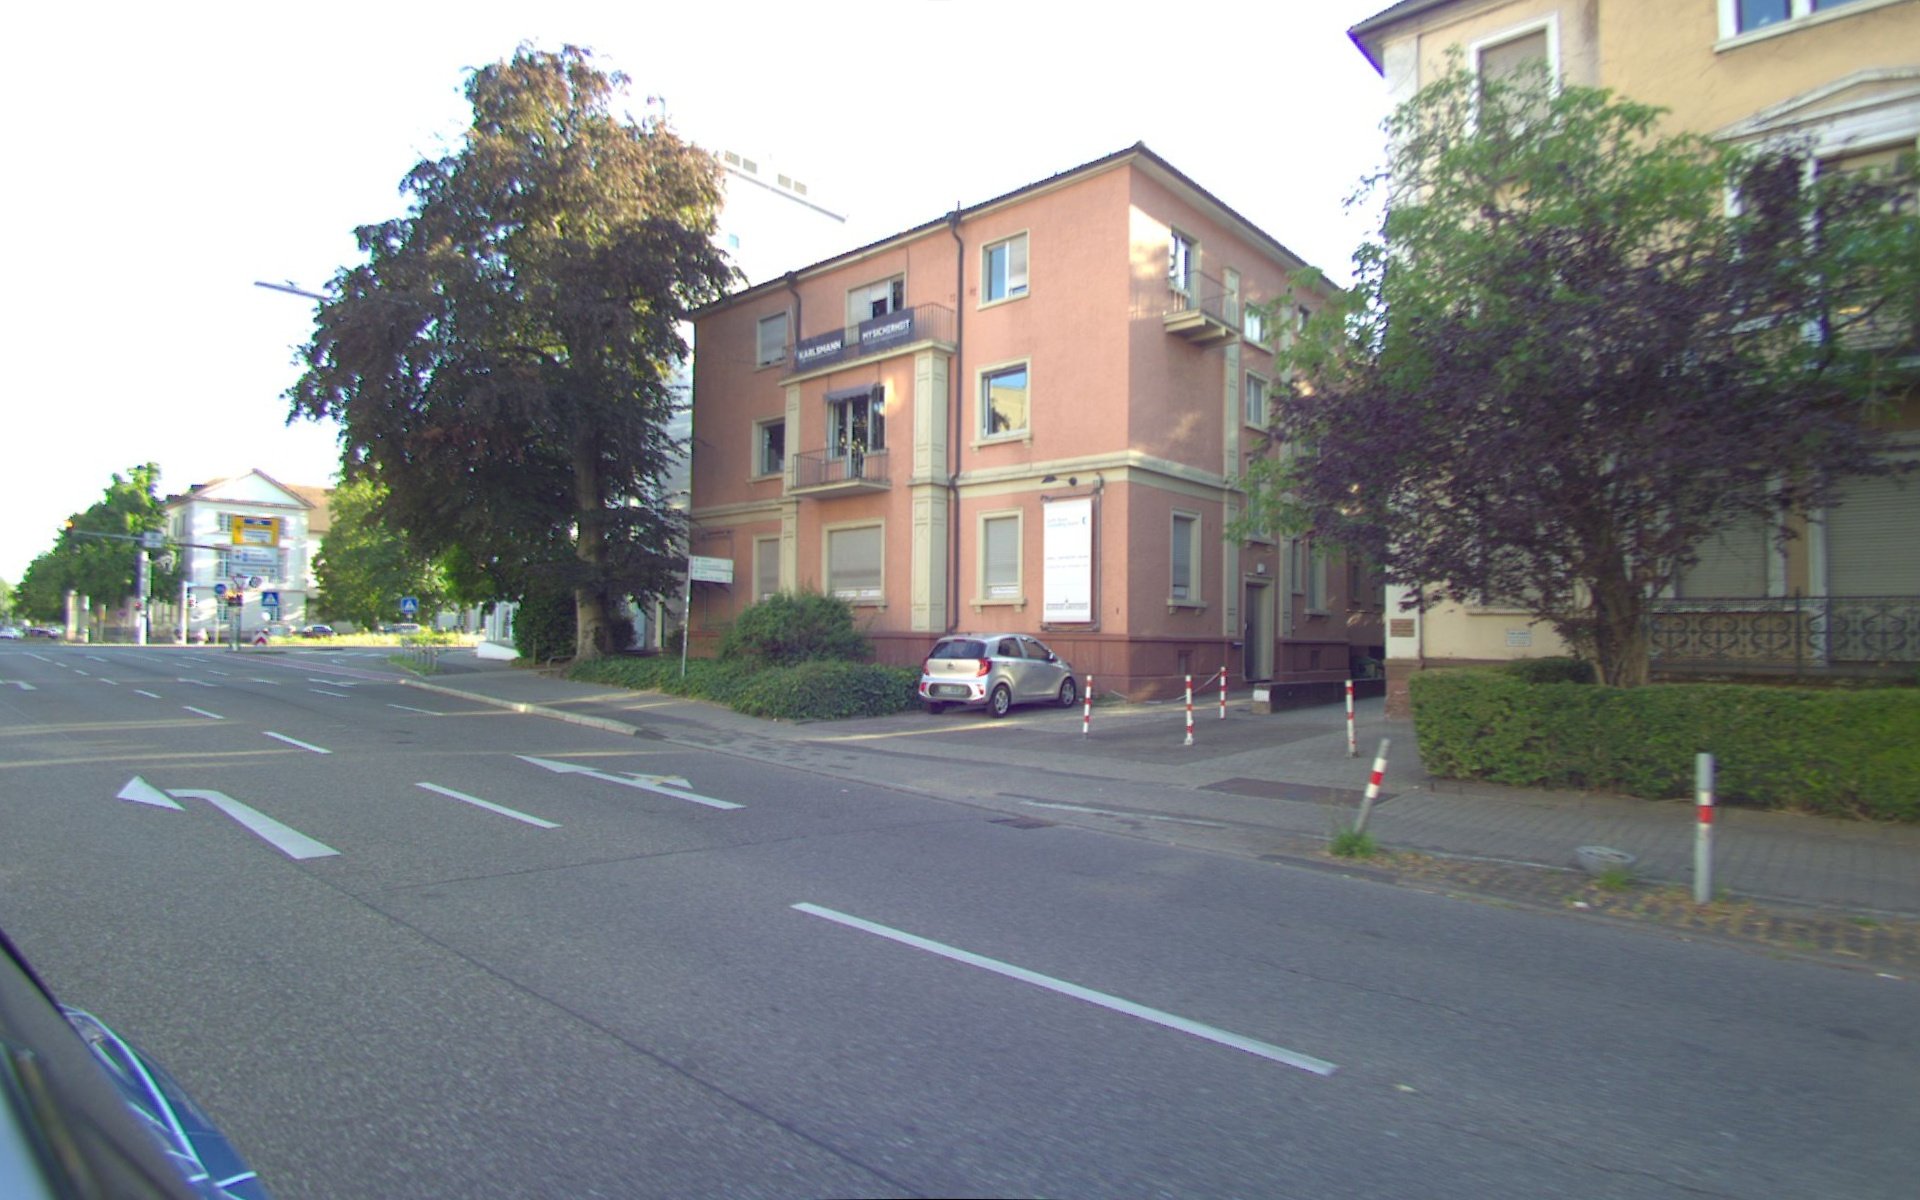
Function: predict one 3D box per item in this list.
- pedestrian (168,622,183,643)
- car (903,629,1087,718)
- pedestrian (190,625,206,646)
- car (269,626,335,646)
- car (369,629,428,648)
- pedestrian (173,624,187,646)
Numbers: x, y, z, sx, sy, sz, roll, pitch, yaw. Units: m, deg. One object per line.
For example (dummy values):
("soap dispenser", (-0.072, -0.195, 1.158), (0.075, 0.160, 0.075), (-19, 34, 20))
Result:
("pedestrian", (-64.246, 2.682, 82.884), (1.081, 1.721, 0.671), (-1, -3, 33))
("car", (0.742, 1.324, 19.140), (1.813, 1.497, 3.464), (-2, -3, 38))
("pedestrian", (-60.327, 2.787, 80.118), (0.880, 1.663, 0.671), (-1, -3, 33))
("car", (-48.322, 2.663, 74.347), (1.997, 1.457, 3.601), (-2, -3, 37))
("car", (-44.462, 3.069, 80.154), (1.997, 1.457, 3.601), (-2, -3, 37))
("pedestrian", (-60.983, 2.743, 79.115), (0.887, 1.663, 0.614), (-1, -3, 33))
